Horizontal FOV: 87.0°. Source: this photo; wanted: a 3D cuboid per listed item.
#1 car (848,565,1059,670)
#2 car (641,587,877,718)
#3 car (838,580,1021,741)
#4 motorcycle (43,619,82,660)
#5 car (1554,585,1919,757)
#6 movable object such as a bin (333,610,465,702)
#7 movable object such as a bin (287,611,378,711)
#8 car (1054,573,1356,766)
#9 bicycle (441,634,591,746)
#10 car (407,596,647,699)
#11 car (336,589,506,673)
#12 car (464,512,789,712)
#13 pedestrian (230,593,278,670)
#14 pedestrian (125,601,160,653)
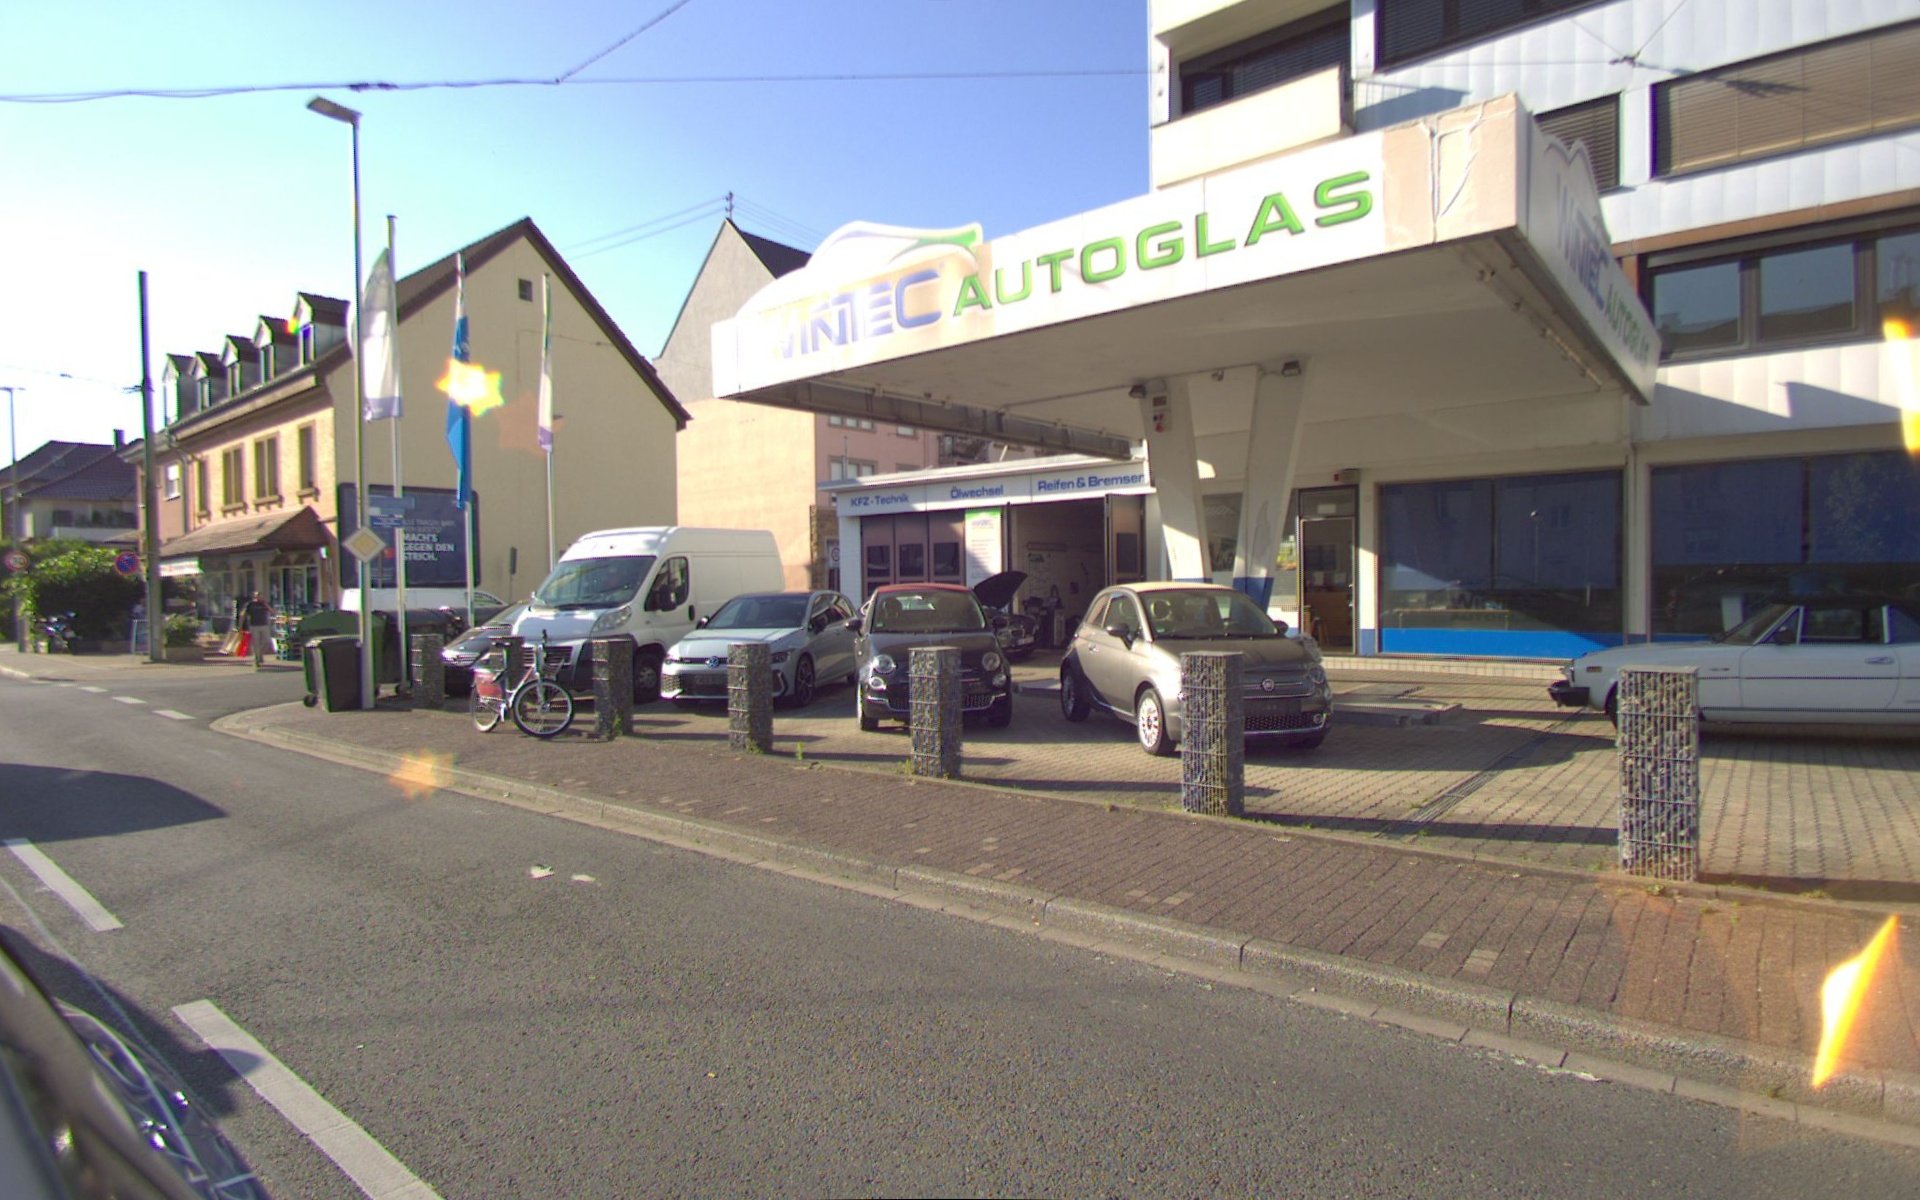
[{"bbox_3d":[-0.215,0.327,20.924,4.255,1.958,1.720,-1,0,40],"label":"car"},{"bbox_3d":[-2.539,0.594,13.808,1.725,1.508,4.016,-1,0,12],"label":"car"},{"bbox_3d":[-0.490,0.570,11.512,1.569,1.508,3.443,-1,0,-10],"label":"car"},{"bbox_3d":[-27.976,1.208,31.531,2.186,1.226,0.699,-1,0,43],"label":"motorcycle"},{"bbox_3d":[7.378,0.549,8.576,3.898,1.308,1.506,-1,-1,37],"label":"car"},{"bbox_3d":[-9.584,0.920,17.372,1.039,1.475,1.787,-1,0,15],"label":"movable object such as a bin"},{"bbox_3d":[-9.714,0.922,15.717,1.030,1.475,0.798,-1,0,-18],"label":"movable object such as a bin"},{"bbox_3d":[2.146,0.541,9.798,1.517,1.497,3.381,-1,0,-11],"label":"car"},{"bbox_3d":[-4.903,0.946,11.126,1.789,1.094,0.716,-1,1,37],"label":"bicycle"},{"bbox_3d":[-7.070,0.709,17.012,1.725,1.488,4.016,-1,0,12],"label":"car"},{"bbox_3d":[-13.902,0.744,26.255,1.449,2.029,3.628,-1,0,37],"label":"car"},{"bbox_3d":[-4.695,0.137,15.227,2.098,2.472,4.963,-1,0,18],"label":"car"},{"bbox_3d":[-17.520,0.773,25.113,0.767,1.866,0.811,-1,0,43],"label":"pedestrian"},{"bbox_3d":[-27.701,0.904,34.294,0.859,1.726,0.799,-1,0,42],"label":"pedestrian"}]
